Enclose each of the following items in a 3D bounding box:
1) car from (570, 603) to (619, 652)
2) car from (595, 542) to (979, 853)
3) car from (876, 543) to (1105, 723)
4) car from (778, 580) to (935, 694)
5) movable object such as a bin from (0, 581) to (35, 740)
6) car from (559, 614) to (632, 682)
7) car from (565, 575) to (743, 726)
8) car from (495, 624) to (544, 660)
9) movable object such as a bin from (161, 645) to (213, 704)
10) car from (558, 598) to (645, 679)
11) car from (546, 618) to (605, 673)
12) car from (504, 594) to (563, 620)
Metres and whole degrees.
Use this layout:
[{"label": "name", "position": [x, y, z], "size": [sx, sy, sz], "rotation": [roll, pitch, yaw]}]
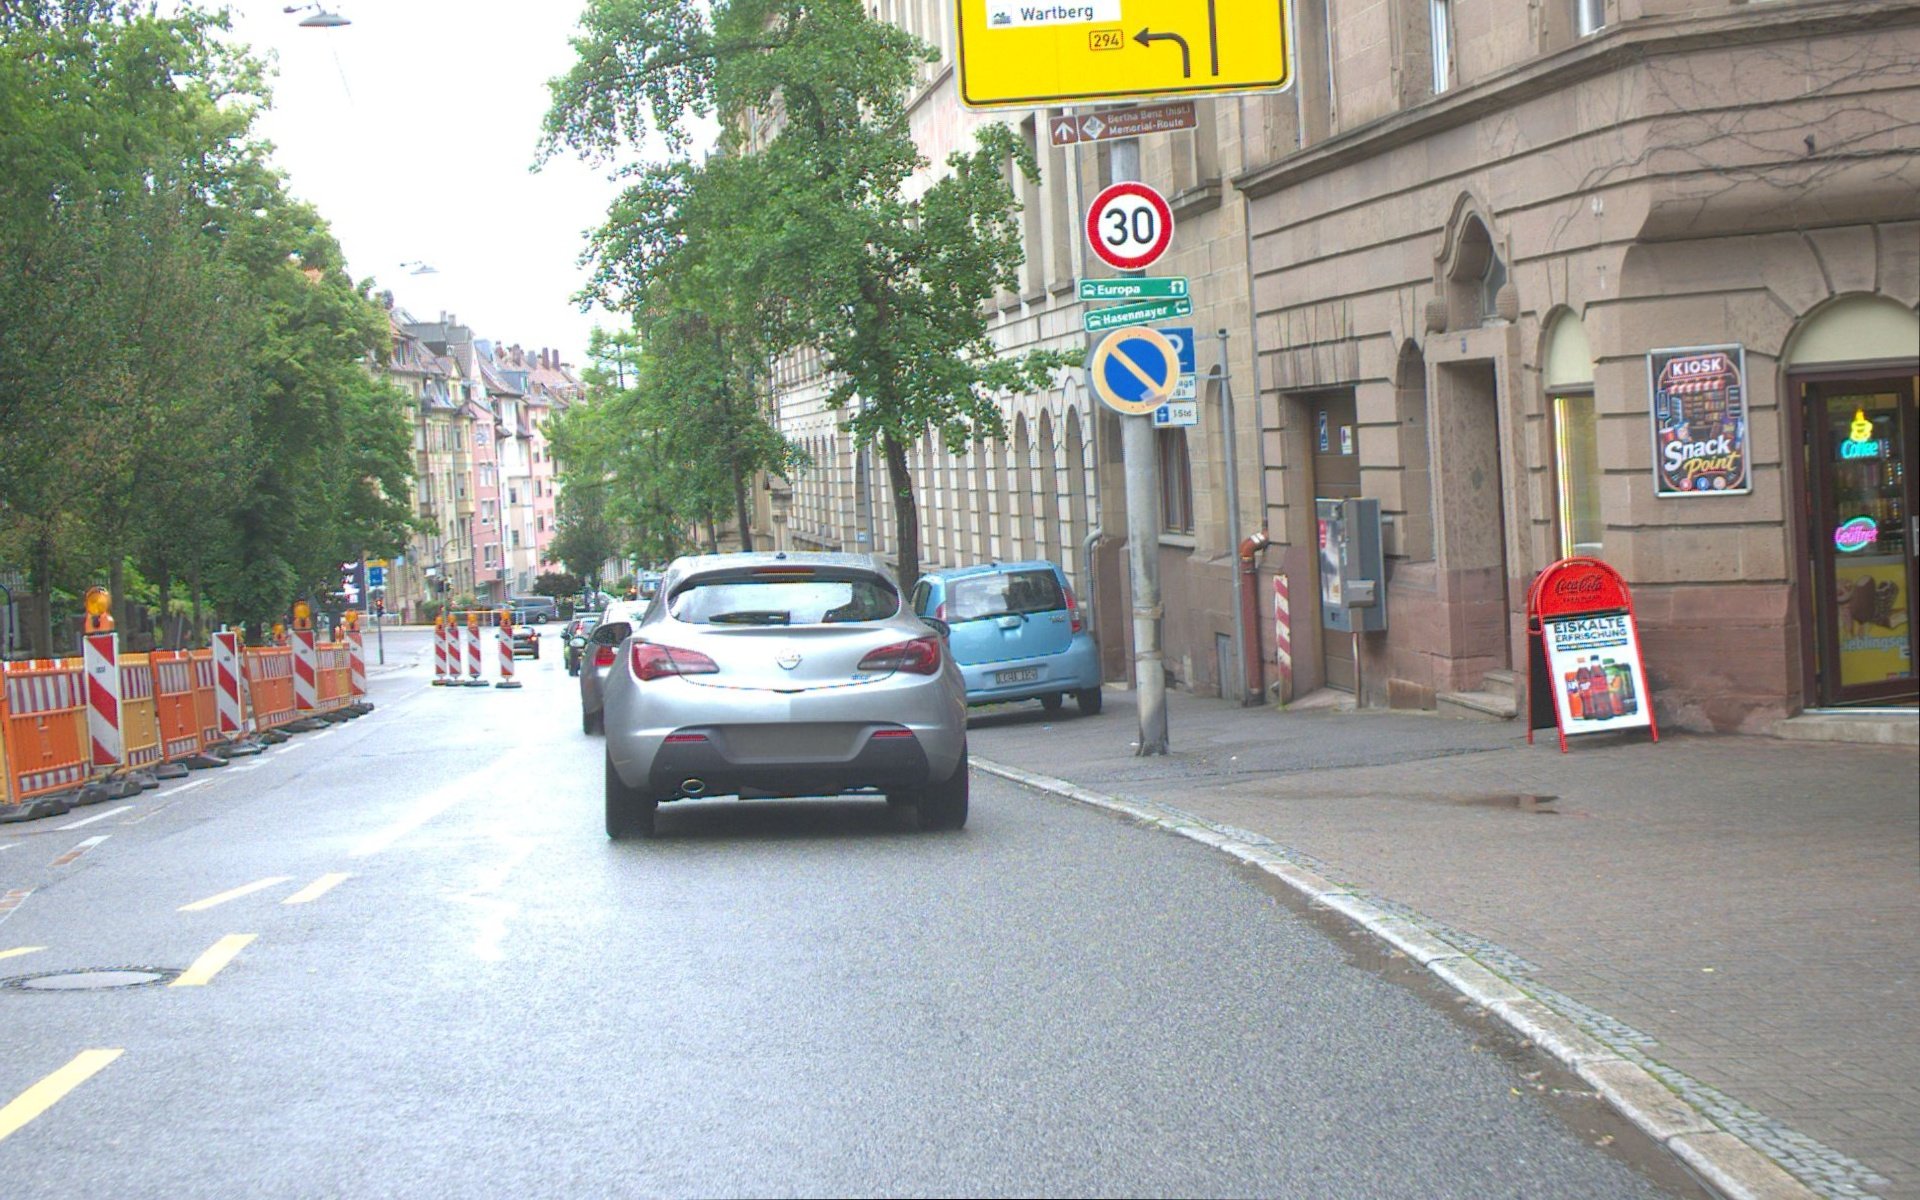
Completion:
[{"label": "car", "position": [-14.687, 1.106, 138.156], "size": [1.715, 1.776, 3.666], "rotation": [-6, 0, -7]}, {"label": "car", "position": [-1.001, 0.464, 18.469], "size": [1.811, 1.444, 3.870], "rotation": [-1, 0, -5]}, {"label": "car", "position": [0.242, 0.326, 33.688], "size": [1.656, 1.537, 3.666], "rotation": [-5, 0, -7]}, {"label": "car", "position": [-1.544, 0.521, 49.920], "size": [1.695, 1.426, 4.423], "rotation": [-6, 0, -8]}, {"label": "movable object such as a bin", "position": [-14.860, 0.920, 50.097], "size": [1.993, 2.291, 2.815], "rotation": [-3, 0, -3]}, {"label": "car", "position": [-9.255, 1.208, 87.201], "size": [1.656, 1.537, 3.666], "rotation": [-5, 0, -7]}, {"label": "car", "position": [-3.285, 0.512, 37.027], "size": [1.772, 1.499, 3.869], "rotation": [-1, 0, -5]}, {"label": "car", "position": [-19.646, 1.862, 153.245], "size": [1.993, 1.495, 4.001], "rotation": [-3, 0, -9]}, {"label": "movable object such as a bin", "position": [-16.194, 1.551, 71.998], "size": [0.944, 1.210, 0.856], "rotation": [-1, 0, -5]}, {"label": "car", "position": [-7.601, 0.803, 72.648], "size": [1.656, 1.537, 3.666], "rotation": [-5, 0, -7]}, {"label": "car", "position": [-11.905, 1.416, 106.275], "size": [1.656, 1.537, 3.666], "rotation": [-5, 0, -7]}, {"label": "car", "position": [-29.131, 0.483, 234.792], "size": [3.986, 1.744, 2.000], "rotation": [0, -1, -7]}]
